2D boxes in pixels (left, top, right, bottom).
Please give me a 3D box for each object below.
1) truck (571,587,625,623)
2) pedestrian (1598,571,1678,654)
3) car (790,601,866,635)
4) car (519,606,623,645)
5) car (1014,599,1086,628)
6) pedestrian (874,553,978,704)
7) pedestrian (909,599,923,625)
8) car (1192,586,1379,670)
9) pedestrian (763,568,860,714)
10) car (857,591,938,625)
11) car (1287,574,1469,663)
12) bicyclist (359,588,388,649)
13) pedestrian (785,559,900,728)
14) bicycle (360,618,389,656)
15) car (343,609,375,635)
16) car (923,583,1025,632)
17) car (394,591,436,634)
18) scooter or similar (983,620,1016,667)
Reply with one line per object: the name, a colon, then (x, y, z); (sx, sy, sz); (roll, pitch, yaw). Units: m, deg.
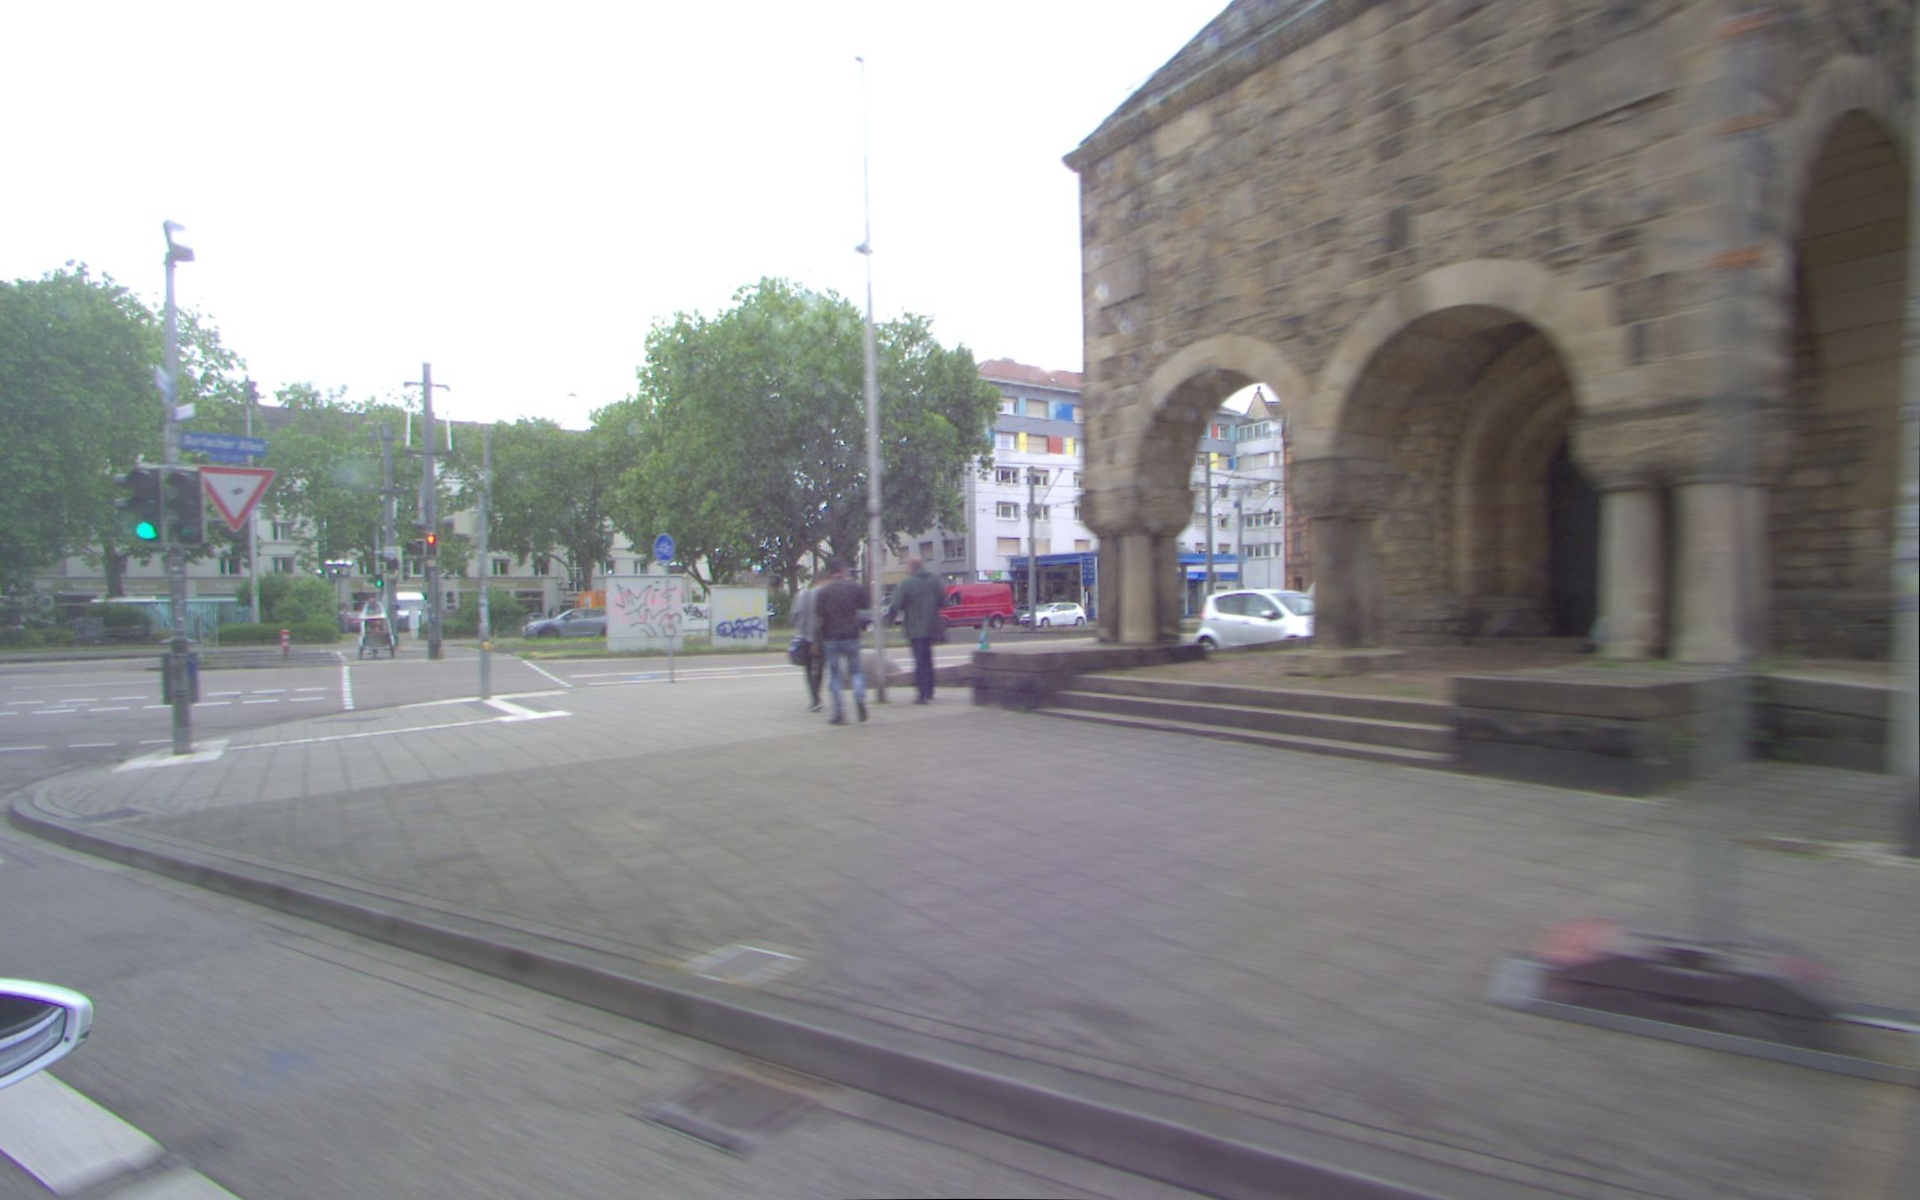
truck: (-27.910, 0.384, 77.160); (3.955, 2.625, 2.367); (-1, 0, 42)
pedestrian: (8.177, 0.144, 12.082); (0.665, 0.964, 0.611); (-1, 1, -35)
car: (-6.627, 0.896, 50.308); (3.422, 1.582, 1.676); (-1, 0, -34)
car: (-17.005, 1.082, 43.802); (3.937, 1.582, 1.676); (-1, 0, -35)
car: (5.318, 0.773, 58.759); (4.095, 1.550, 1.676); (-1, 0, -35)
pedestrian: (-0.411, 0.331, 12.439); (0.955, 1.783, 0.802); (0, 3, 33)
pedestrian: (-2.768, 0.747, 63.222); (0.564, 1.592, 0.705); (-1, 1, -34)
car: (6.563, 0.539, 20.480); (1.595, 1.550, 3.448); (-1, 0, -31)
pedestrian: (-1.811, 0.472, 12.200); (0.957, 1.696, 0.629); (0, 3, 39)
car: (-4.102, 0.517, 66.271); (5.021, 2.124, 1.980); (-1, 0, -35)
car: (9.257, 0.385, 22.411); (1.663, 1.817, 3.448); (-1, 0, -31)
bicyclist: (-16.448, 0.515, 28.091); (0.608, 1.676, 0.749); (-1, 1, -36)
pedestrian: (-1.252, 0.440, 10.684); (0.955, 1.709, 0.672); (0, 3, 33)
bicycle: (-16.466, 1.026, 28.139); (0.546, 1.009, 2.047); (-1, 0, -34)
car: (-37.641, 1.361, 62.735); (1.646, 1.535, 3.916); (-1, 0, -31)
car: (0.807, 0.361, 55.503); (5.537, 2.572, 1.980); (-1, 0, -35)
car: (-35.749, 0.780, 65.626); (2.210, 2.674, 5.417); (-1, 0, -31)
scooter or similar: (0.941, 1.014, 23.559); (0.762, 1.067, 0.238); (-1, 1, -32)
